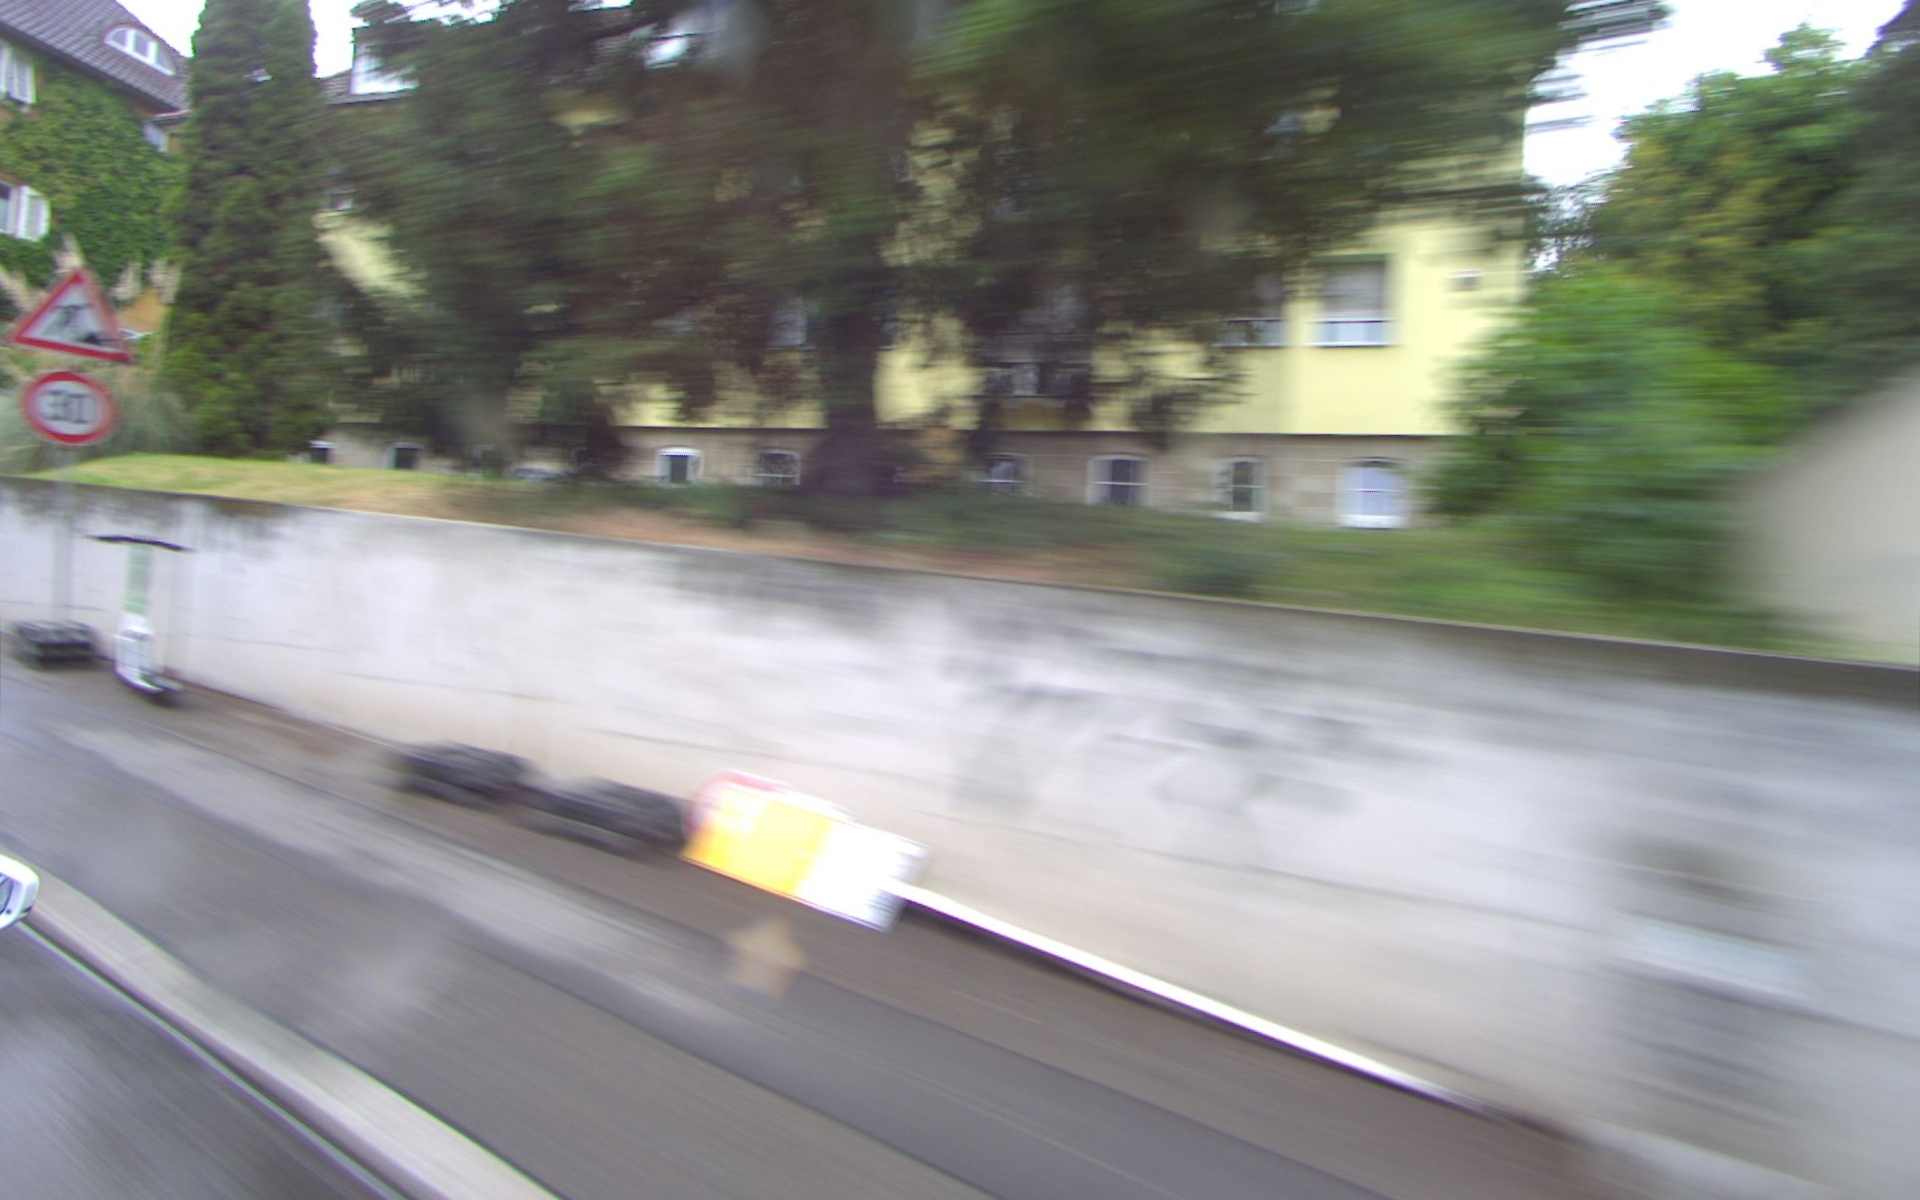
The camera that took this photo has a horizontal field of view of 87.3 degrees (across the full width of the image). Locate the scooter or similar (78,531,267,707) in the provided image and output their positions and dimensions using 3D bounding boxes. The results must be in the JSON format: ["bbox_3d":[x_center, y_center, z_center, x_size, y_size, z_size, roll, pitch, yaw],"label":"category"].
[{"bbox_3d":[-5.921,0.126,7.552,1.347,1.147,0.598,6,1,30],"label":"scooter or similar"}]
